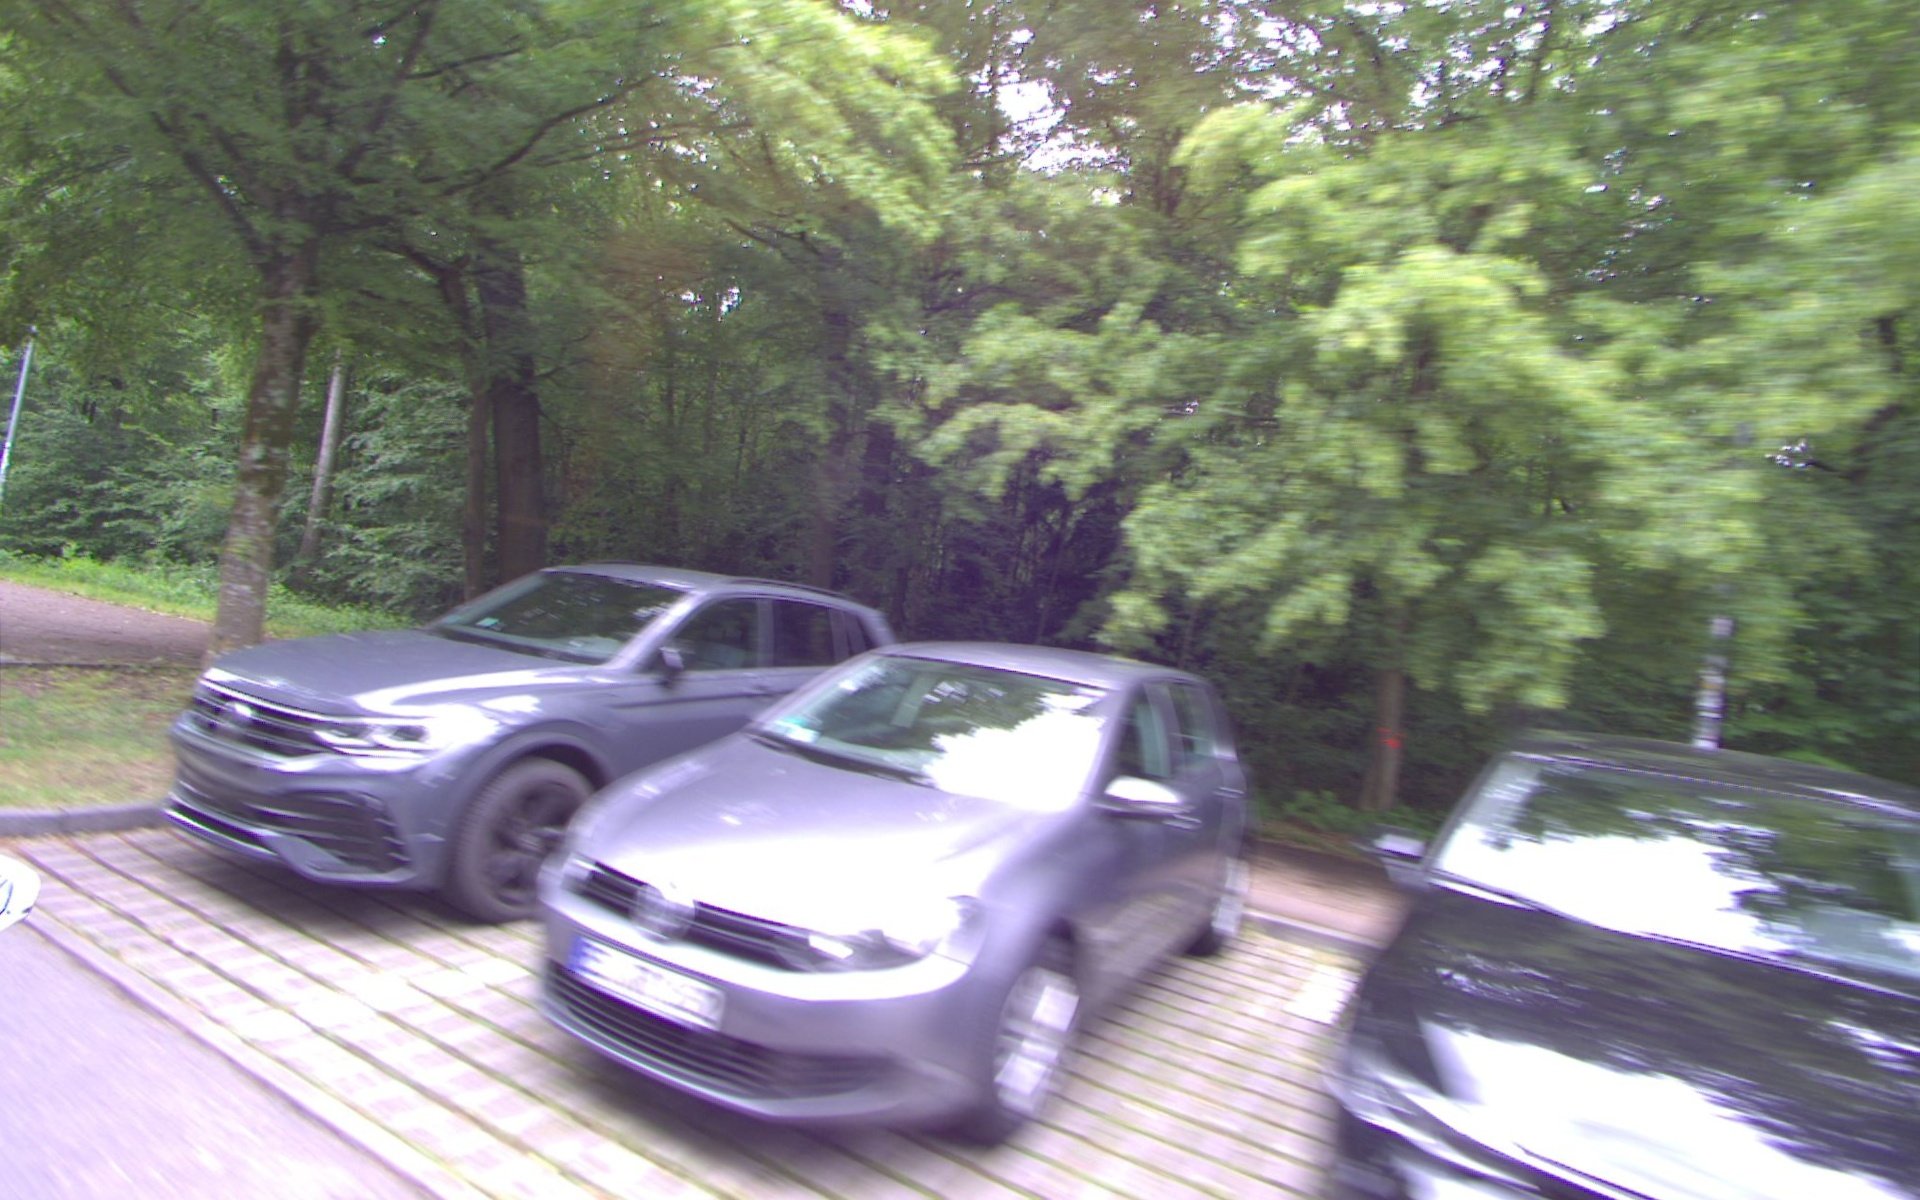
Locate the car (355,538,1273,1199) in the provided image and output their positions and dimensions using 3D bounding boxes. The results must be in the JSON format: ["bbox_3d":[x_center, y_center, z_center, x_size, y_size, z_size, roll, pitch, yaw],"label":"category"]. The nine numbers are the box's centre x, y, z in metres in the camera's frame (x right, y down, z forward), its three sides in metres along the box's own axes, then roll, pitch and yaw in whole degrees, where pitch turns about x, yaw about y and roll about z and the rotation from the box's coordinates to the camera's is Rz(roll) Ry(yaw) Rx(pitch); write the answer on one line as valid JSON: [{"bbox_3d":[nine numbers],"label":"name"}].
[{"bbox_3d":[-0.005,0.891,4.405,1.940,1.569,4.001,7,-2,25],"label":"car"}]

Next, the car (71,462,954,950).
[{"bbox_3d":[-2.031,0.530,5.906,1.925,1.685,4.276,7,-2,31],"label":"car"}]

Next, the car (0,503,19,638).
[{"bbox_3d":[-11.444,-0.497,9.662,4.886,1.496,1.999,7,-2,29],"label":"car"}]

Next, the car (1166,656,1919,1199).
[{"bbox_3d":[2.303,1.165,3.228,1.920,1.492,3.995,7,-2,32],"label":"car"}]
